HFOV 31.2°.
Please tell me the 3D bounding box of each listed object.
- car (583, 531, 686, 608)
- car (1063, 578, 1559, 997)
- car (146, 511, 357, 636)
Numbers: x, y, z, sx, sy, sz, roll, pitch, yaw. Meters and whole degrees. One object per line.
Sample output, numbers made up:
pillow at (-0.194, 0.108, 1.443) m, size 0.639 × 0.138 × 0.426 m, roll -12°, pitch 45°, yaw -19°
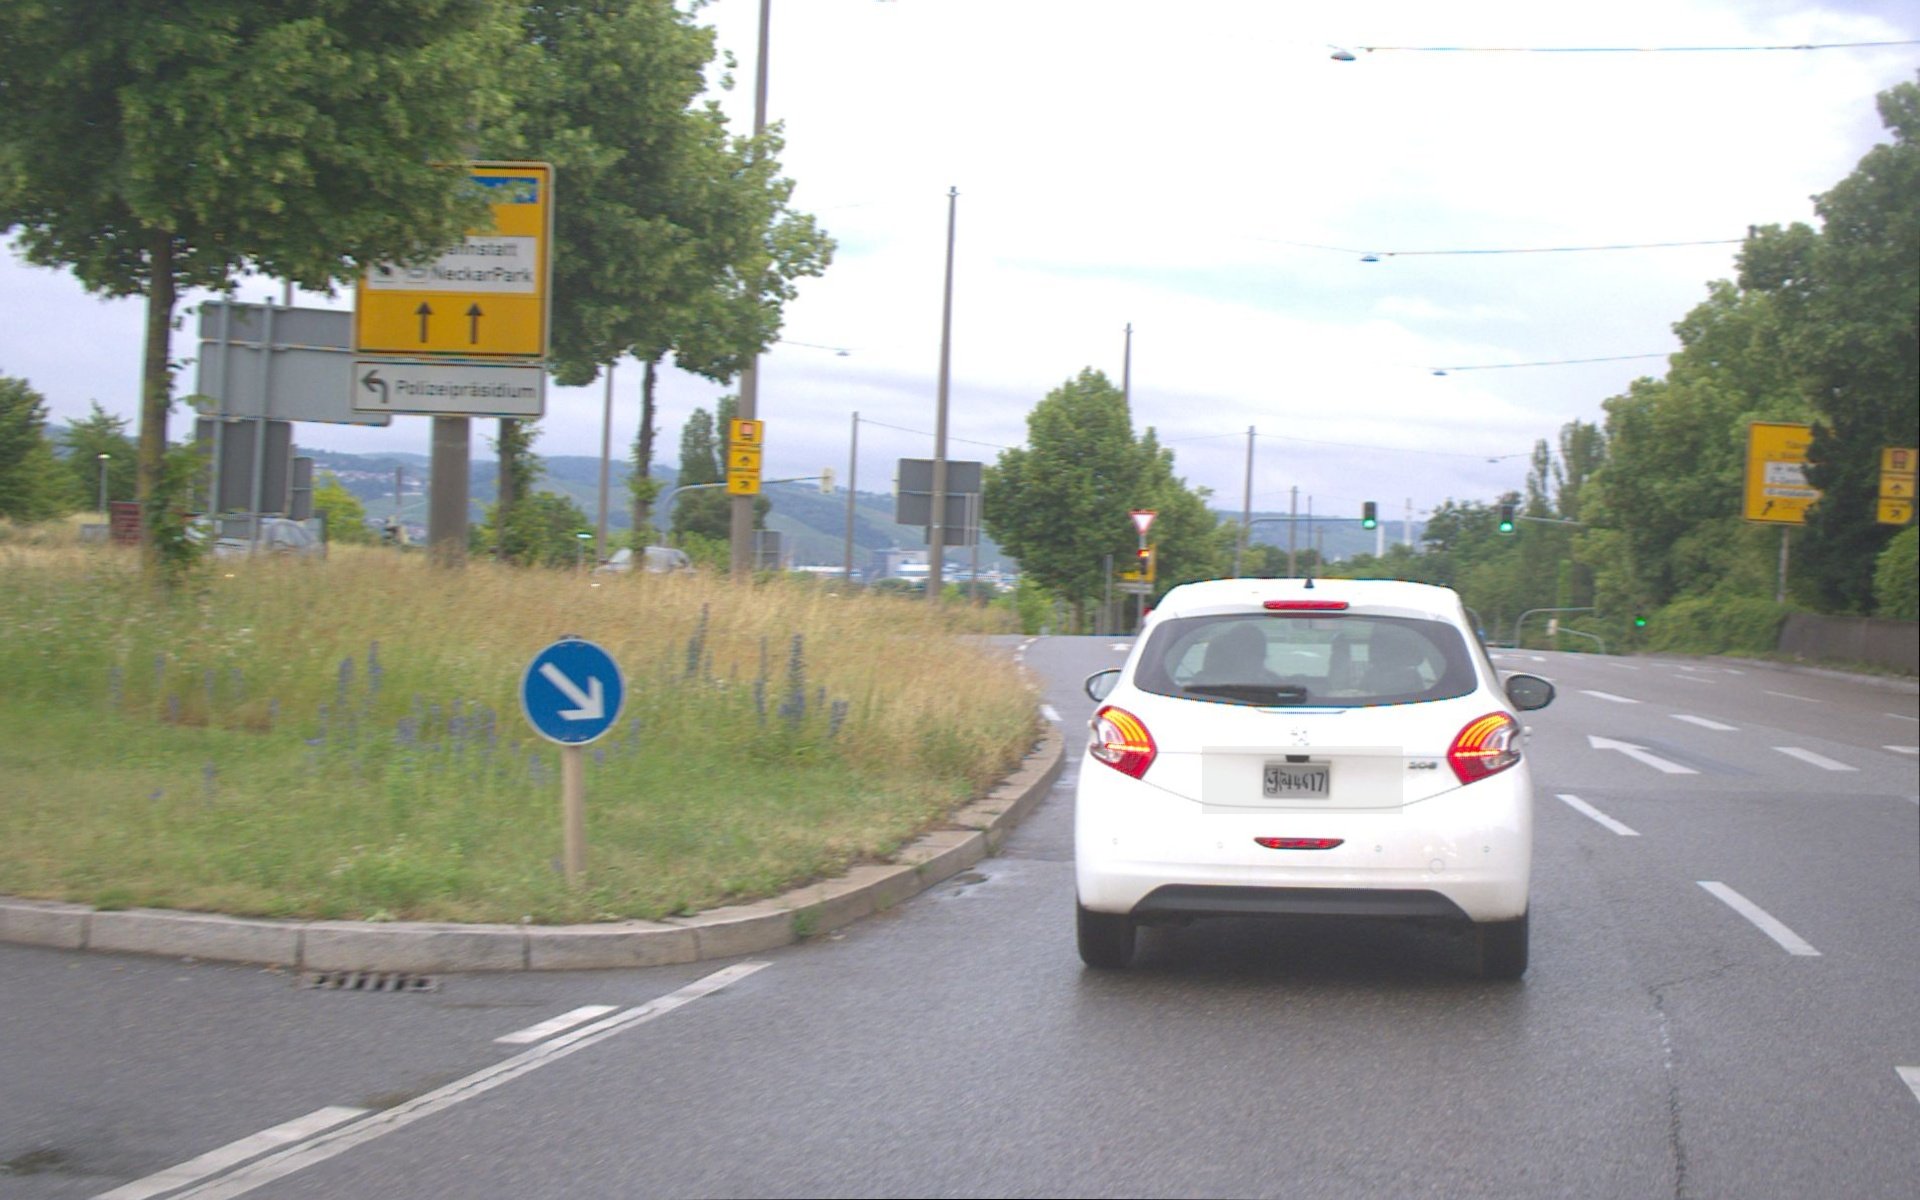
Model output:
car at (-7.813, -0.739, 82.761) m, size 1.767 × 1.744 × 4.000 m, roll 2°, pitch 1°, yaw 4°
car at (1.316, 0.641, 13.852) m, size 1.709 × 1.435 × 3.690 m, roll 1°, pitch 0°, yaw 3°
car at (-10.094, -0.399, 49.303) m, size 1.878 × 1.648 × 4.357 m, roll 2°, pitch 1°, yaw 3°
